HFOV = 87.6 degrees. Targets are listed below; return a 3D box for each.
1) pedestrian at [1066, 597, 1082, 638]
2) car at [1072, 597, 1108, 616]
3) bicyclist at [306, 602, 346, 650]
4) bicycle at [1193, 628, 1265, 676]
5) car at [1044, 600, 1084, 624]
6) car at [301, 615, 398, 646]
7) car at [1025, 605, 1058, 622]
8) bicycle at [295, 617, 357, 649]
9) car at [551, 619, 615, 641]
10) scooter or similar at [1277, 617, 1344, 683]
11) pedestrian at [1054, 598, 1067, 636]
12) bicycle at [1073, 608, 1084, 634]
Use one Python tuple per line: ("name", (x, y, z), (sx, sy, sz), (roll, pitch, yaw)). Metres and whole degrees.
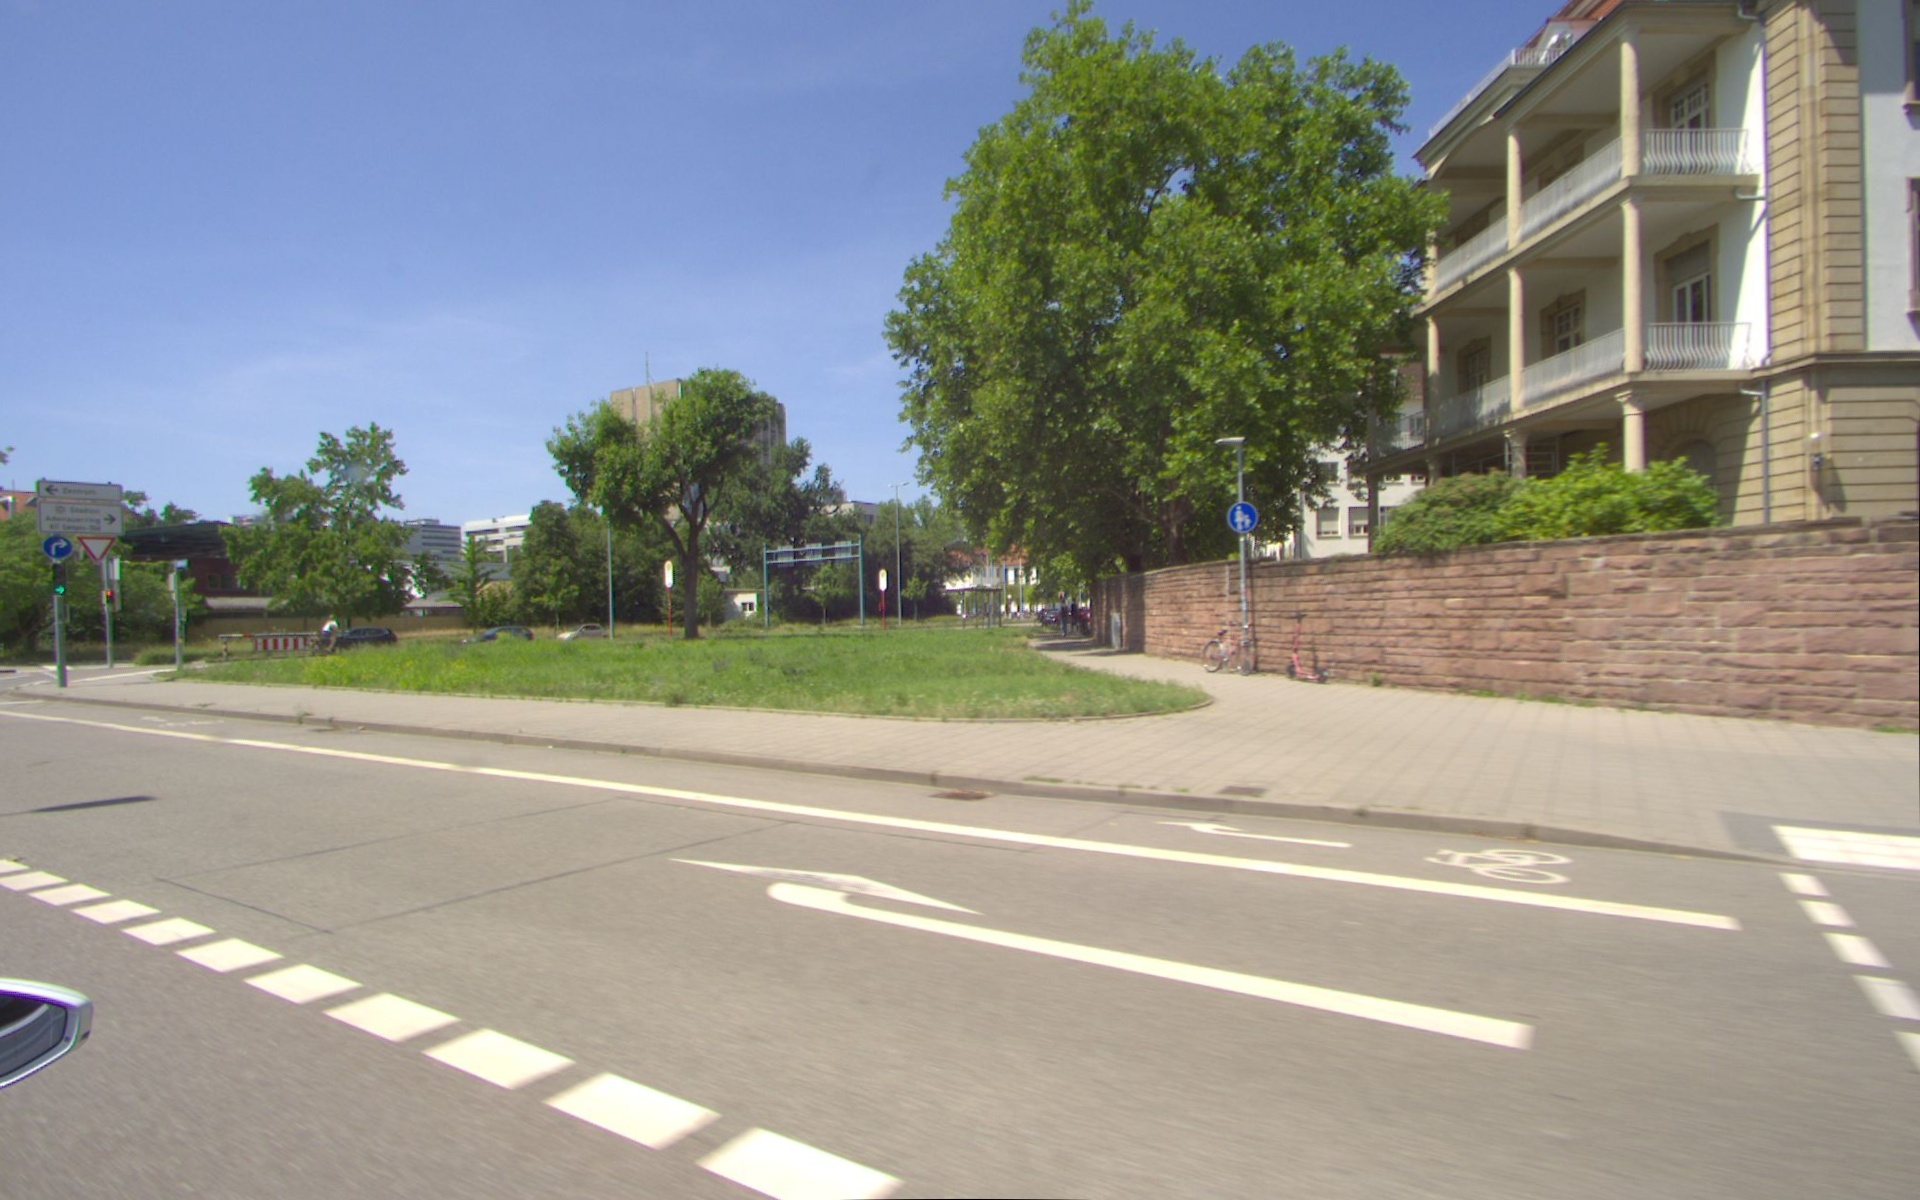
("pedestrian", (6.396, 0.995, 56.154), (0.833, 2.320, 1.075), (0, -2, 9))
("car", (12.579, 0.690, 96.945), (1.758, 1.705, 3.976), (-2, -3, 36))
("bicyclist", (-25.479, 1.057, 40.259), (0.697, 1.911, 1.136), (-1, -2, 24))
("bicycle", (5.406, 1.042, 20.262), (0.667, 0.940, 1.774), (0, -2, -12))
("car", (9.637, 1.119, 92.273), (1.973, 2.039, 4.191), (-1, -2, 34))
("car", (-35.281, 1.756, 57.967), (1.688, 1.607, 4.522), (-2, 0, 38))
("car", (8.394, 1.426, 103.250), (1.753, 1.689, 3.981), (-1, -3, 32))
("bicycle", (-25.456, 1.351, 40.237), (0.512, 1.252, 2.186), (-1, -2, 25))
("car", (-26.457, 2.145, 70.438), (1.735, 1.457, 3.981), (-1, -3, 32))
("scooter or similar", (6.225, 0.888, 17.840), (0.368, 1.122, 1.347), (0, -2, -19))
("pedestrian", (4.706, 0.797, 46.984), (0.578, 1.743, 0.527), (0, -1, 9))
("bicycle", (5.610, 1.017, 47.446), (0.449, 1.197, 2.171), (0, -2, 5))
